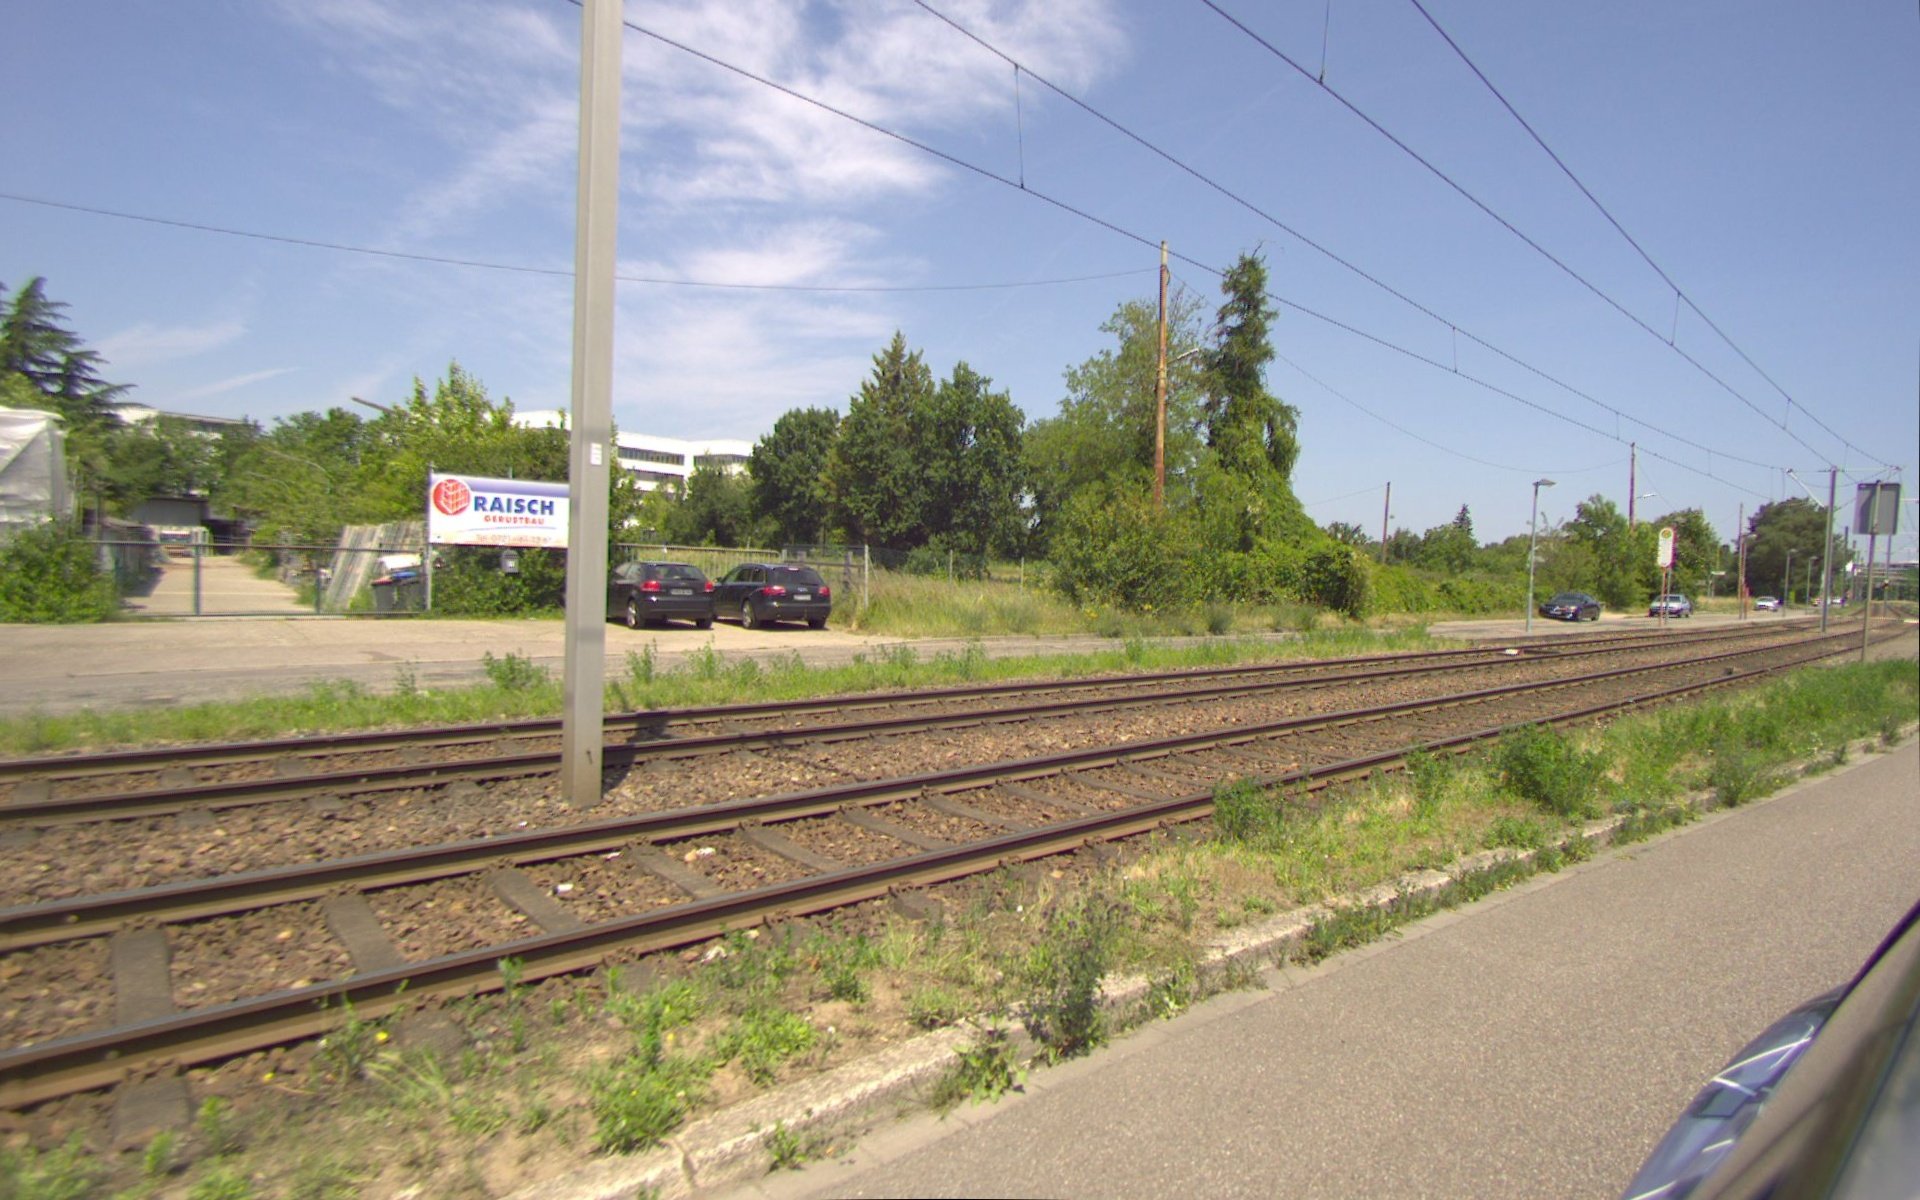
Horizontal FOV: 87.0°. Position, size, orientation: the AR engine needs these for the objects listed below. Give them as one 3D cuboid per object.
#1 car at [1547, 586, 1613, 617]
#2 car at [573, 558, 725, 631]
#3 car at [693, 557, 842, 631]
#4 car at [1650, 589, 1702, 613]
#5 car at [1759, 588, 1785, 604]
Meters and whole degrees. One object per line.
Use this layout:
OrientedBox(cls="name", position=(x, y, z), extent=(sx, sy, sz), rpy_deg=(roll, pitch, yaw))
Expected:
OrientedBox(cls="car", position=(31.136, 0.056, 50.751), extent=(4.792, 1.439, 1.621), rpy_deg=(0, 2, -44))
OrientedBox(cls="car", position=(-6.890, -0.175, 22.227), extent=(1.865, 1.436, 3.735), rpy_deg=(0, 2, -40))
OrientedBox(cls="car", position=(-4.499, -0.186, 23.258), extent=(1.863, 1.536, 4.001), rpy_deg=(0, 2, -35))
OrientedBox(cls="car", position=(44.571, 0.036, 62.965), extent=(3.935, 1.439, 1.941), rpy_deg=(0, 2, -45))
OrientedBox(cls="car", position=(82.432, -0.414, 102.741), extent=(1.713, 1.507, 3.937), rpy_deg=(2, 2, 44))
